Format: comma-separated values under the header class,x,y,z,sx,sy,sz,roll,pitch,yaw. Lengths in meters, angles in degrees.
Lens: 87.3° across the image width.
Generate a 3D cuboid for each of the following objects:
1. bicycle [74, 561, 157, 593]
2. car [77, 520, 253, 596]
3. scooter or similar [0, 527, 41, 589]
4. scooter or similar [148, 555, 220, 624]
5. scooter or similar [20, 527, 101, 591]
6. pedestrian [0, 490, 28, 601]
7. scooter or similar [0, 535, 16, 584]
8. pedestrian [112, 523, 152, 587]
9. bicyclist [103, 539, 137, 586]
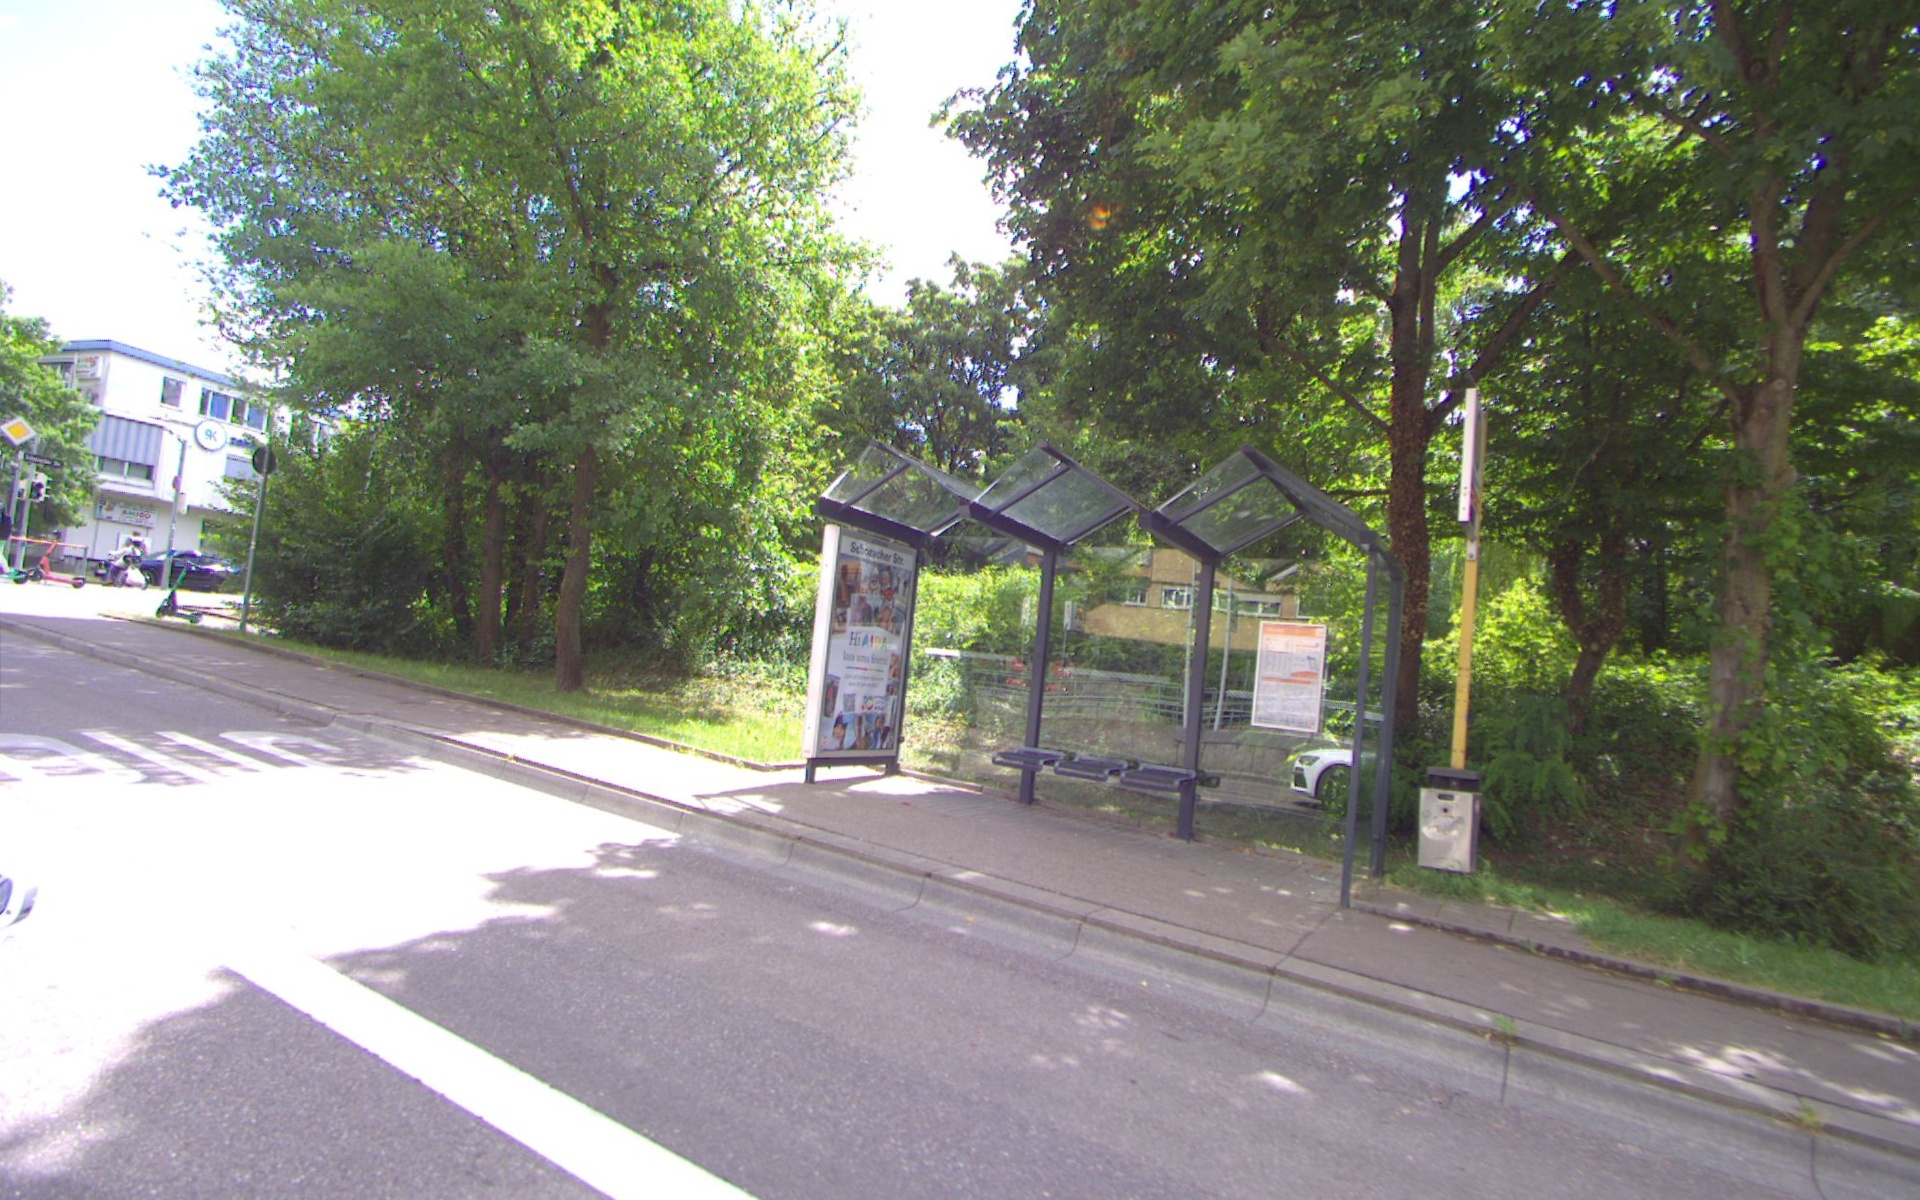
class,x,y,z,sx,sy,sz,roll,pitch,yaw
bicycle,-22.623,-0.616,26.966,1.565,0.616,0.533,8,-2,-12
car,-29.169,-1.481,37.098,1.964,2.036,4.552,6,-3,25
scooter or similar,-20.717,-0.942,21.697,0.531,1.249,1.111,6,-2,34
scooter or similar,-16.188,-0.213,20.989,0.447,1.242,0.893,6,-6,32
scooter or similar,-20.804,-0.941,23.284,0.546,1.286,1.153,6,-3,34
pedestrian,-17.198,-1.017,17.667,0.997,1.897,0.797,6,-2,32
scooter or similar,-22.163,-0.962,23.146,0.546,1.076,1.246,8,-2,-44
pedestrian,-23.899,-1.289,29.047,0.652,1.733,0.458,8,-1,-32
bicyclist,-22.522,-1.002,26.978,0.393,1.170,0.502,7,-1,-13
